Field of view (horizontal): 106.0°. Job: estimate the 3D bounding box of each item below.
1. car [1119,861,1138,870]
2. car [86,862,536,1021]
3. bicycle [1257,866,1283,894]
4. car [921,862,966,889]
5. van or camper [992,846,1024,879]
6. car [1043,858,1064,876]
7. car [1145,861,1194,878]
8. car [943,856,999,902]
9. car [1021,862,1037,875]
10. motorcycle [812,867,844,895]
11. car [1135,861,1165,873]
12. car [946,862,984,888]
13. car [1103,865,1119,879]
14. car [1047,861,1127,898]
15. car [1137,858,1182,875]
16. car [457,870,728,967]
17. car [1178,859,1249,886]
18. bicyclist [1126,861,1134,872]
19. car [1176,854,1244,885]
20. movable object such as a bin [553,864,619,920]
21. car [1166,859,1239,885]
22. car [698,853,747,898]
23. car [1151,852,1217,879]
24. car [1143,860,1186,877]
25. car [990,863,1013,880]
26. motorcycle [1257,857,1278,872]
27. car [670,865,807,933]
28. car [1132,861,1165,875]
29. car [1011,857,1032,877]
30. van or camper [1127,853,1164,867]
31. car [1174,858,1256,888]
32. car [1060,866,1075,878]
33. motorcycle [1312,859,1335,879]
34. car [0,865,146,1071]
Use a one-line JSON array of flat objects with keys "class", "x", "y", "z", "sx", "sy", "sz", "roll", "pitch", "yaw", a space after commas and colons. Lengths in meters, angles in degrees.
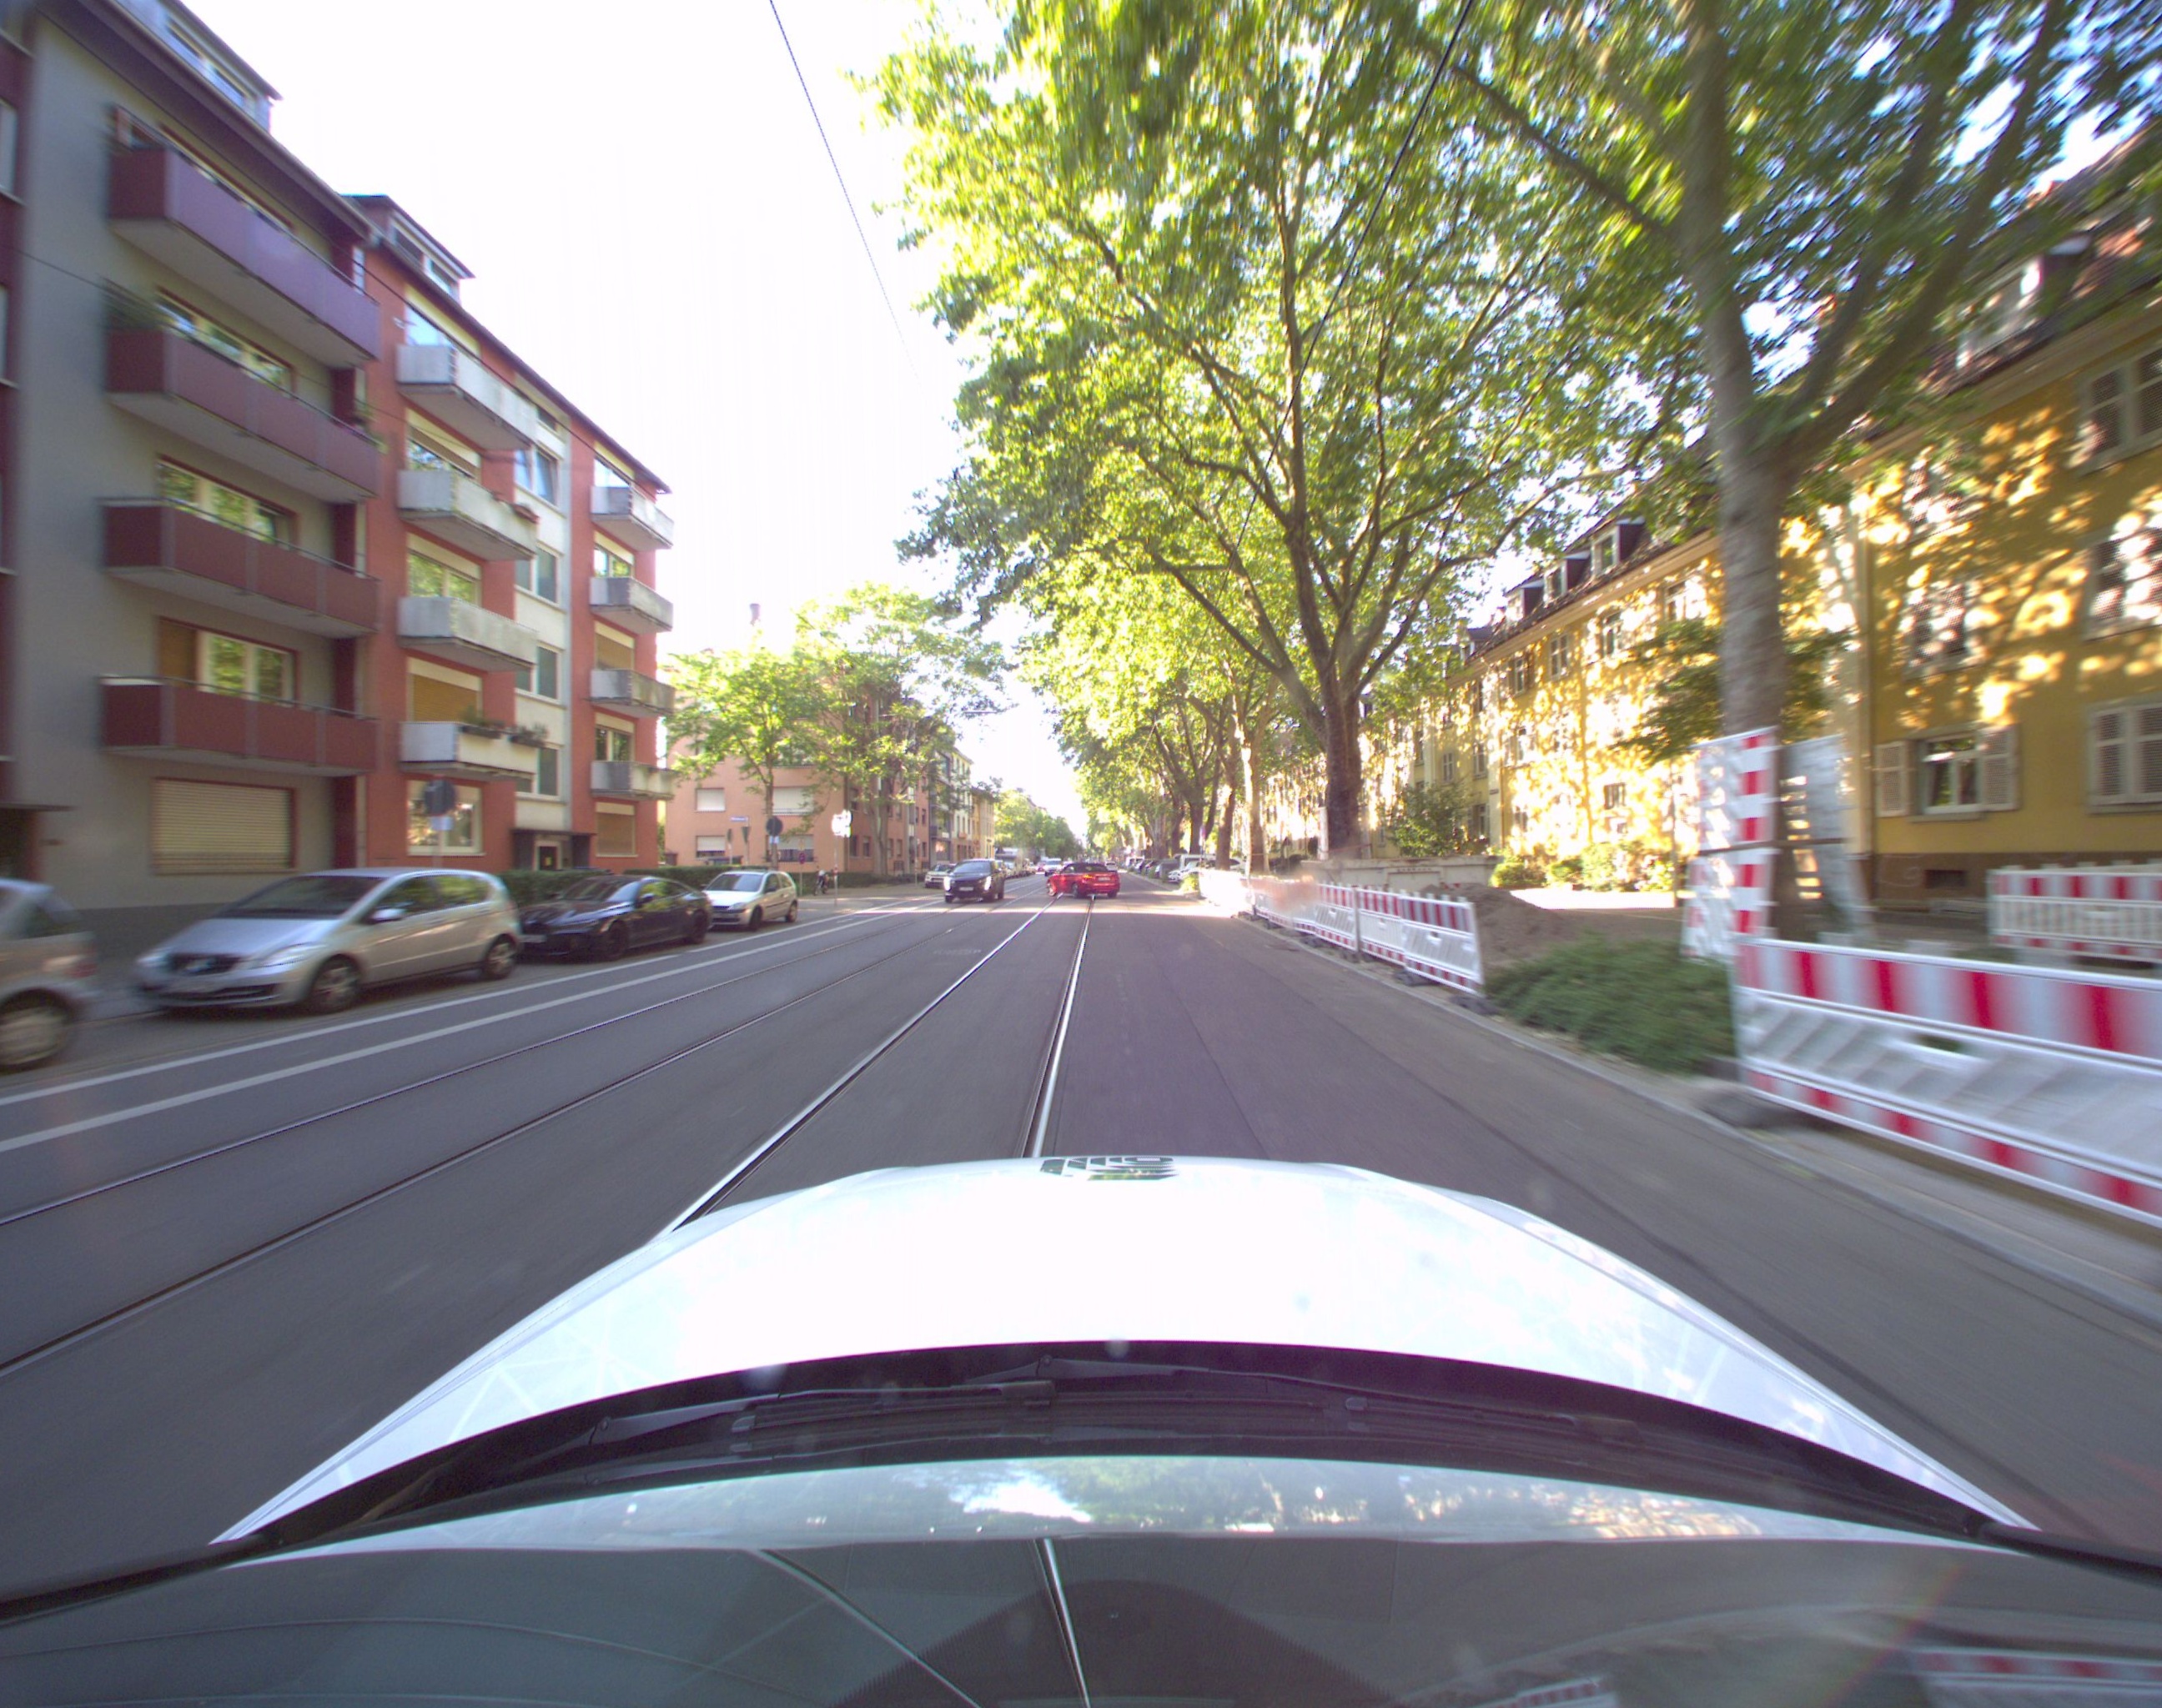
[{"class": "car", "x": 9.708, "y": 2.371, "z": 166.979, "sx": 3.972, "sy": 1.785, "sz": 2.001, "roll": -1, "pitch": -1, "yaw": 1}, {"class": "car", "x": -9.106, "y": 0.905, "z": 10.227, "sx": 1.814, "sy": 1.587, "sz": 4.004, "roll": 0, "pitch": 0, "yaw": -1}, {"class": "bicycle", "x": 8.051, "y": 1.105, "z": 34.755, "sx": 0.688, "sy": 1.154, "sz": 1.949, "roll": -1, "pitch": -1, "yaw": 1}, {"class": "car", "x": -8.197, "y": 1.255, "z": 48.988, "sx": 1.799, "sy": 1.478, "sz": 4.092, "roll": 2, "pitch": -1, "yaw": 2}, {"class": "van or camper", "x": -7.241, "y": 0.834, "z": 81.494, "sx": 2.328, "sy": 3.041, "sz": 6.400, "roll": 2, "pitch": -1, "yaw": 2}, {"class": "car", "x": -2.847, "y": 1.360, "z": 85.291, "sx": 1.885, "sy": 1.832, "sz": 4.896, "roll": -1, "pitch": -1, "yaw": 1}, {"class": "car", "x": 7.823, "y": 1.350, "z": 72.380, "sx": 4.232, "sy": 1.484, "sz": 1.898, "roll": -1, "pitch": -1, "yaw": 1}, {"class": "car", "x": -4.158, "y": 0.912, "z": 31.402, "sx": 1.850, "sy": 1.600, "sz": 4.457, "roll": -1, "pitch": 0, "yaw": -4}, {"class": "car", "x": -6.655, "y": 1.866, "z": 104.692, "sx": 1.830, "sy": 1.468, "sz": 5.067, "roll": 2, "pitch": 0, "yaw": -1}, {"class": "motorcycle", "x": -12.843, "y": 1.367, "z": 41.364, "sx": 0.899, "sy": 1.280, "sz": 2.348, "roll": -1, "pitch": 2, "yaw": -1}, {"class": "car", "x": 8.516, "y": 1.629, "z": 100.657, "sx": 3.636, "sy": 1.378, "sz": 1.890, "roll": -1, "pitch": -1, "yaw": 1}, {"class": "car", "x": -7.688, "y": 1.351, "z": 54.459, "sx": 1.775, "sy": 1.610, "sz": 4.587, "roll": 2, "pitch": 0, "yaw": 0}, {"class": "car", "x": 3.704, "y": 2.217, "z": 100.423, "sx": 1.911, "sy": 1.584, "sz": 3.792, "roll": -2, "pitch": -1, "yaw": 1}, {"class": "car", "x": 0.167, "y": 1.003, "z": 33.236, "sx": 1.800, "sy": 1.389, "sz": 4.204, "roll": 1, "pitch": 0, "yaw": -23}, {"class": "car", "x": 7.961, "y": 1.261, "z": 82.749, "sx": 4.475, "sy": 1.602, "sz": 2.030, "roll": -3, "pitch": -1, "yaw": 5}, {"class": "car", "x": -8.773, "y": 1.065, "z": 15.290, "sx": 1.945, "sy": 1.395, "sz": 4.865, "roll": 2, "pitch": 0, "yaw": 2}, {"class": "car", "x": 7.446, "y": 1.036, "z": 46.021, "sx": 3.826, "sy": 1.433, "sz": 1.854, "roll": -1, "pitch": -1, "yaw": 5}, {"class": "bicyclist", "x": 7.209, "y": 1.835, "z": 119.816, "sx": 1.045, "sy": 1.705, "sz": 1.055, "roll": -1, "pitch": -1, "yaw": -8}, {"class": "car", "x": 7.557, "y": 0.902, "z": 47.984, "sx": 3.826, "sy": 1.772, "sz": 1.919, "roll": -1, "pitch": -1, "yaw": 5}, {"class": "movable object such as a bin", "x": -12.574, "y": 0.955, "z": 20.709, "sx": 1.206, "sy": 1.365, "sz": 0.747, "roll": -1, "pitch": -1, "yaw": 2}, {"class": "car", "x": 7.406, "y": 1.093, "z": 50.010, "sx": 4.350, "sy": 1.542, "sz": 1.804, "roll": -1, "pitch": 0, "yaw": 5}, {"class": "car", "x": -18.107, "y": 1.049, "z": 41.046, "sx": 2.004, "sy": 2.123, "sz": 4.681, "roll": 1, "pitch": -1, "yaw": -27}, {"class": "car", "x": 7.985, "y": 0.887, "z": 63.478, "sx": 4.822, "sy": 1.963, "sz": 2.064, "roll": -1, "pitch": -1, "yaw": -1}, {"class": "car", "x": 7.807, "y": 1.363, "z": 76.289, "sx": 3.825, "sy": 1.509, "sz": 1.711, "roll": -1, "pitch": -1, "yaw": 1}, {"class": "car", "x": -7.282, "y": 1.597, "z": 74.974, "sx": 1.704, "sy": 1.488, "sz": 3.862, "roll": 2, "pitch": -1, "yaw": 0}, {"class": "motorcycle", "x": 18.357, "y": 1.045, "z": 80.124, "sx": 1.798, "sy": 1.361, "sz": 0.622, "roll": -4, "pitch": -1, "yaw": -2}, {"class": "car", "x": -8.484, "y": 1.047, "z": 20.593, "sx": 1.719, "sy": 1.483, "sz": 3.930, "roll": 2, "pitch": -1, "yaw": 0}, {"class": "car", "x": 8.487, "y": 1.719, "z": 102.770, "sx": 3.912, "sy": 1.670, "sz": 1.960, "roll": -1, "pitch": -1, "yaw": -1}, {"class": "car", "x": -6.827, "y": 1.509, "z": 94.155, "sx": 1.946, "sy": 2.091, "sz": 5.247, "roll": 2, "pitch": 0, "yaw": -1}, {"class": "van or camper", "x": 10.073, "y": 0.955, "z": 126.922, "sx": 5.543, "sy": 2.013, "sz": 2.242, "roll": -1, "pitch": 2, "yaw": -4}, {"class": "car", "x": 7.141, "y": 1.018, "z": 43.708, "sx": 4.075, "sy": 1.521, "sz": 1.916, "roll": -1, "pitch": -1, "yaw": 0}, {"class": "car", "x": -1.778, "y": 2.463, "z": 110.375, "sx": 1.769, "sy": 1.458, "sz": 4.203, "roll": -2, "pitch": -1, "yaw": 1}, {"class": "motorcycle", "x": 14.738, "y": 0.908, "z": 49.524, "sx": 0.712, "sy": 1.153, "sz": 2.264, "roll": -1, "pitch": -1, "yaw": 2}, {"class": "car", "x": -9.212, "y": 0.866, "z": 5.344, "sx": 1.619, "sy": 1.572, "sz": 3.783, "roll": 1, "pitch": -1, "yaw": 3}]
